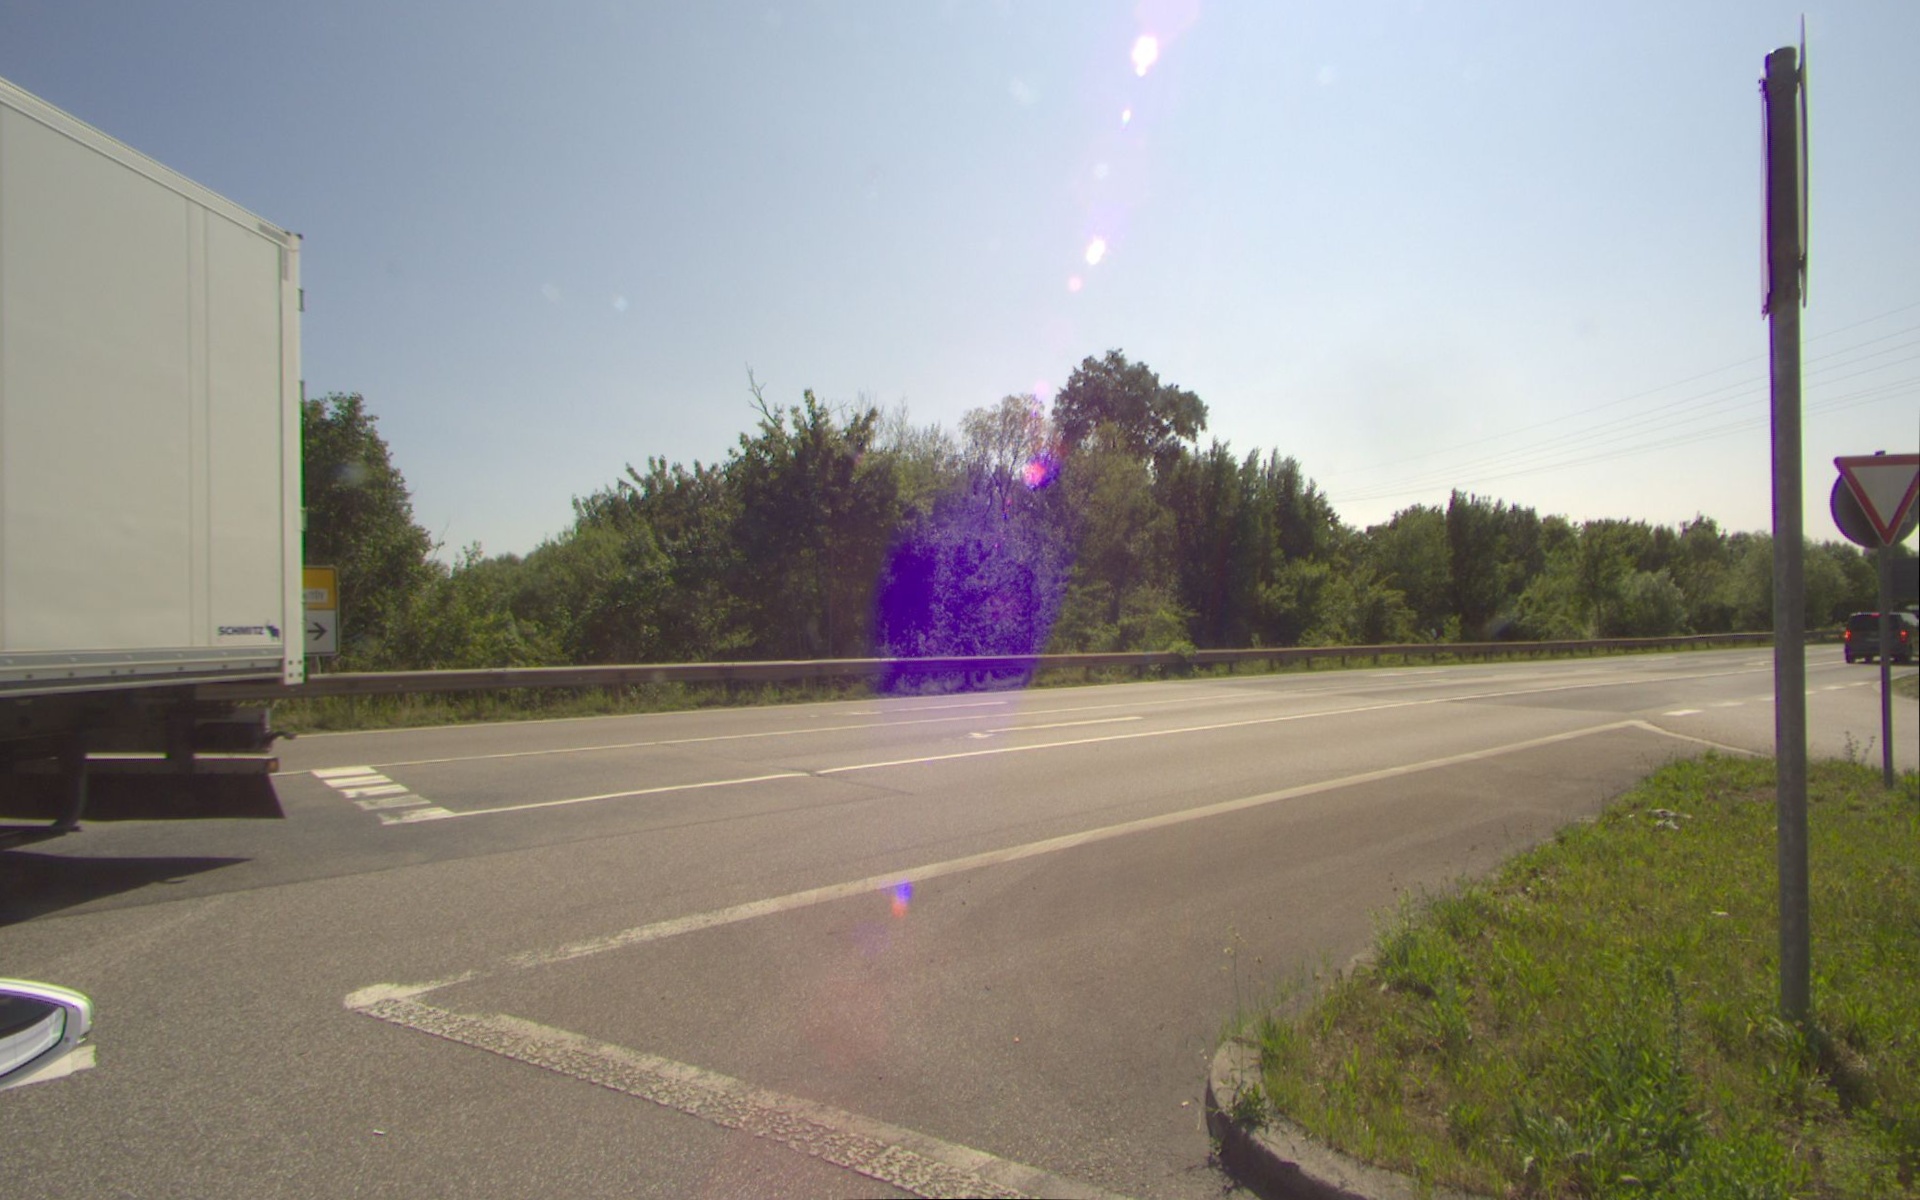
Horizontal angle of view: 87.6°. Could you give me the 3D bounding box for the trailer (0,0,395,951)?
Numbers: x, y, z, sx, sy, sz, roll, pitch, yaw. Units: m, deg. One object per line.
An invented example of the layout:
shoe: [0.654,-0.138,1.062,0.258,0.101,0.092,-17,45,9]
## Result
trailer: [-6.029,-0.675,0.244,2.840,4.218,13.984,0,-1,5]

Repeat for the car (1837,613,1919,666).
car: [35.906,1.510,38.783,4.934,1.903,1.985,1,-2,-37]
